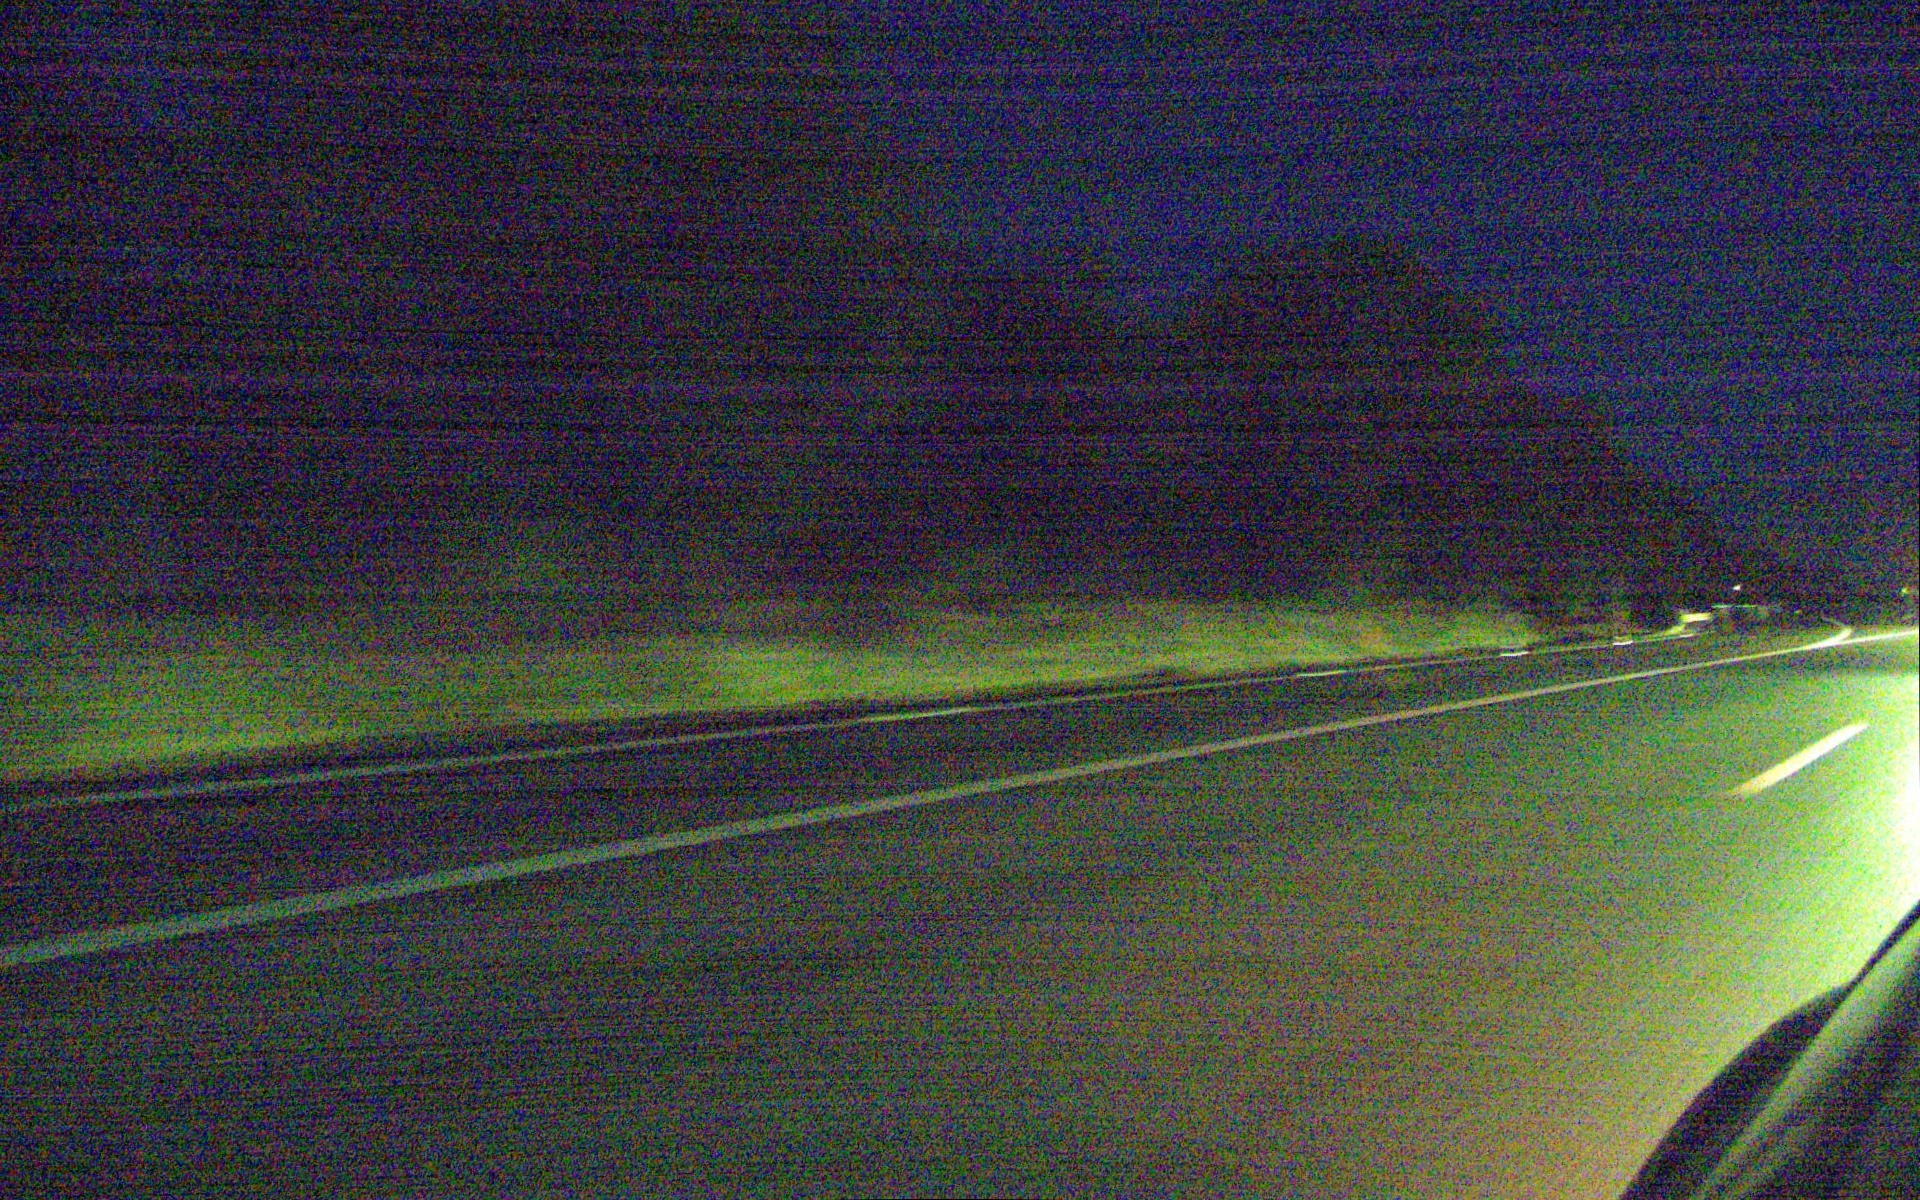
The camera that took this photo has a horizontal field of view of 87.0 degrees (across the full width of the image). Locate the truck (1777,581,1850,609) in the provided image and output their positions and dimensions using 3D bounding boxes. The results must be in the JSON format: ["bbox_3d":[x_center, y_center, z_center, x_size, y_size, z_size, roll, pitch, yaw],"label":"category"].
[{"bbox_3d":[126.148,-0.740,149.753,3.005,3.975,9.652,-1,0,4],"label":"truck"}]

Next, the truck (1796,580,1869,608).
[{"bbox_3d":[129.734,-0.803,150.639,2.907,3.975,9.652,-1,0,4],"label":"truck"}]

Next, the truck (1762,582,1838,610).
[{"bbox_3d":[117.749,-0.502,142.061,3.005,3.735,9.652,-1,0,4],"label":"truck"}]

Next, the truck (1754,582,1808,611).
[{"bbox_3d":[109.399,-0.453,135.002,2.489,3.696,6.198,-1,0,6],"label":"truck"}]

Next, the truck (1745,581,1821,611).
[{"bbox_3d":[113.677,-0.556,140.044,3.005,3.975,9.652,-1,0,4],"label":"truck"}]

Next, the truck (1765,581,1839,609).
[{"bbox_3d":[121.795,-0.675,146.571,3.005,3.975,9.652,-1,0,4],"label":"truck"}]

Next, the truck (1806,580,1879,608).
[{"bbox_3d":[133.177,-0.856,152.962,3.005,3.975,9.652,-1,0,4],"label":"truck"}]

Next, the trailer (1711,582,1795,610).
[{"bbox_3d":[110.017,-0.478,140.773,2.498,3.711,12.974,-1,0,6],"label":"trailer"}]
